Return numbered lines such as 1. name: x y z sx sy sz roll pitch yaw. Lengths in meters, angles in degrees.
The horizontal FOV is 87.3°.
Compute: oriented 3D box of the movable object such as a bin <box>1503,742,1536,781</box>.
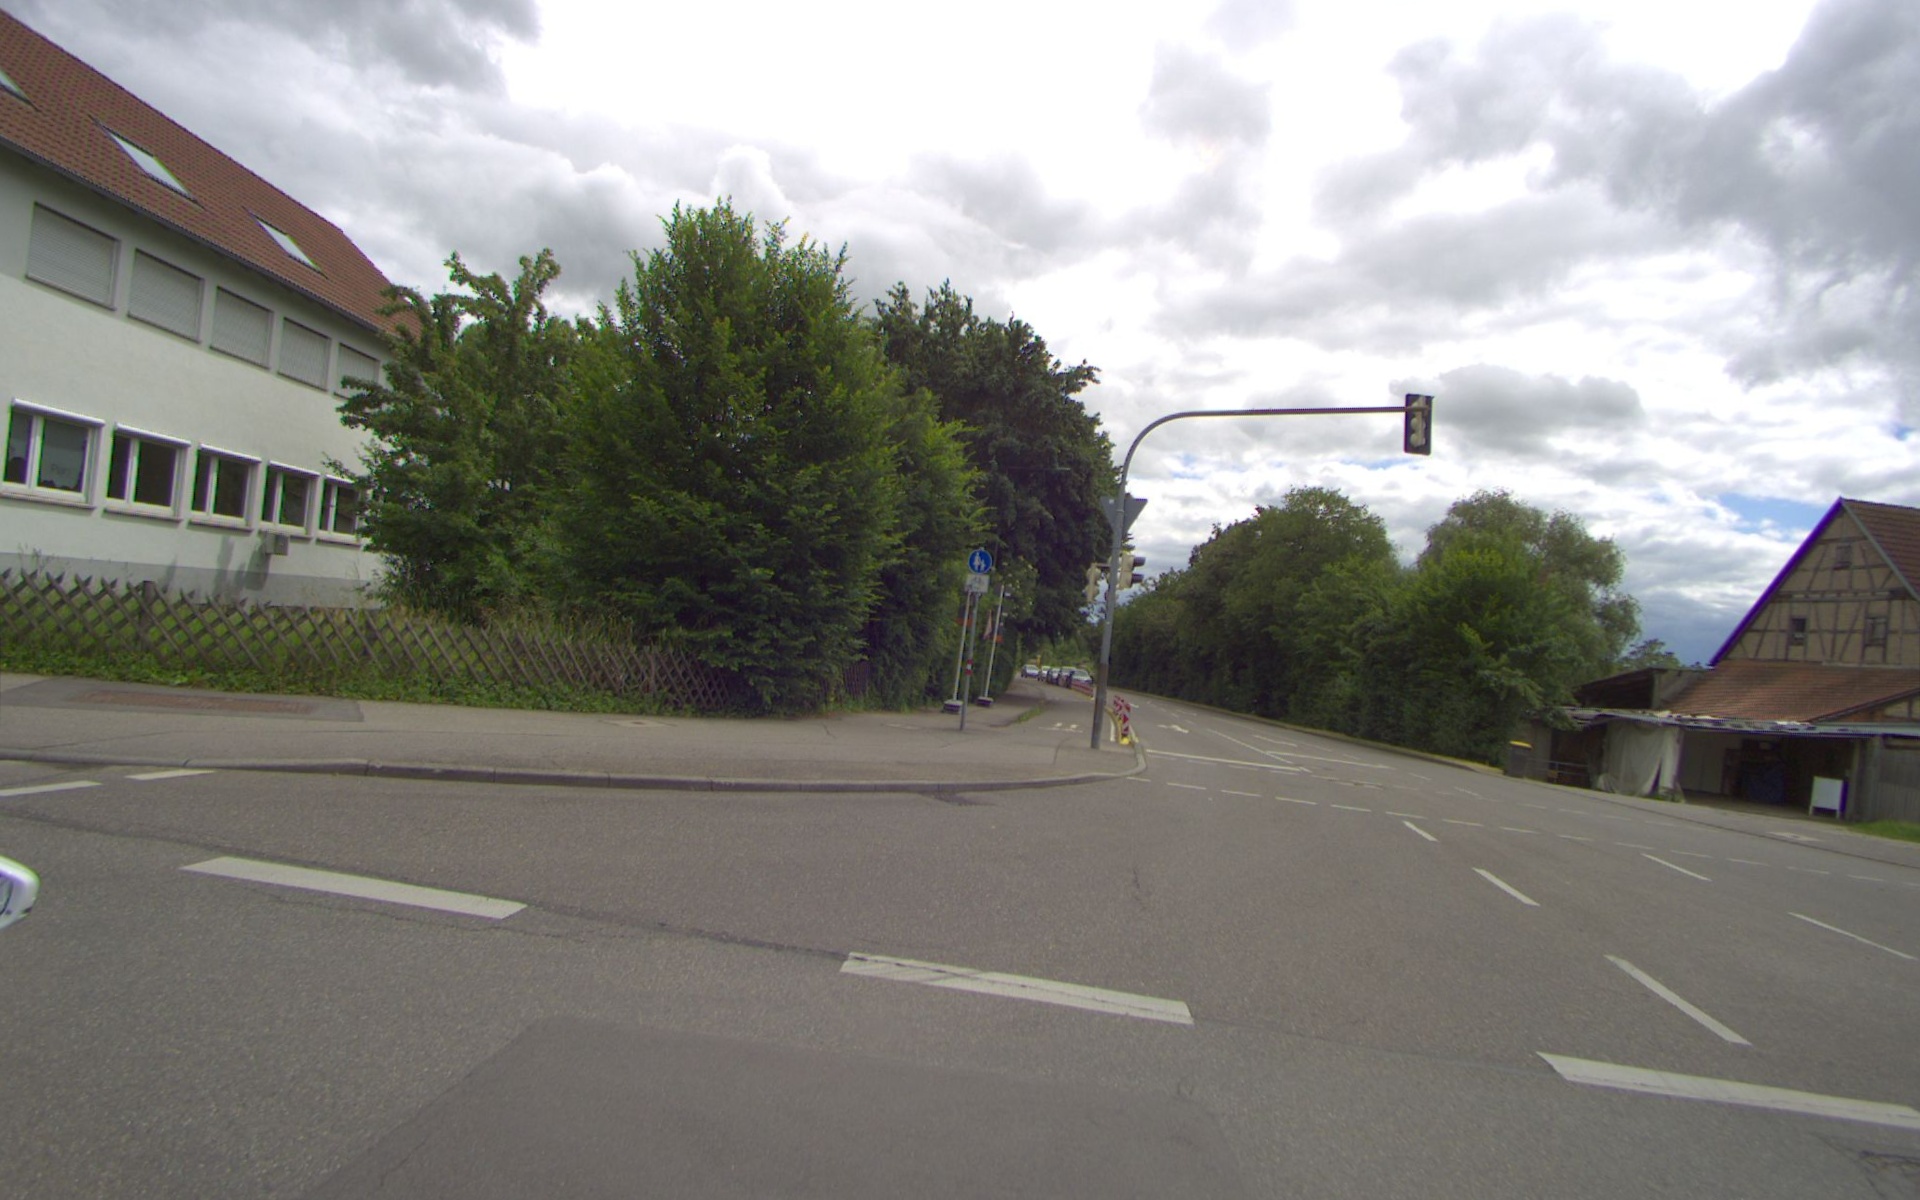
1. movable object such as a bin: 14.800 4.268 26.615 0.585 0.917 0.600 6 -1 39
